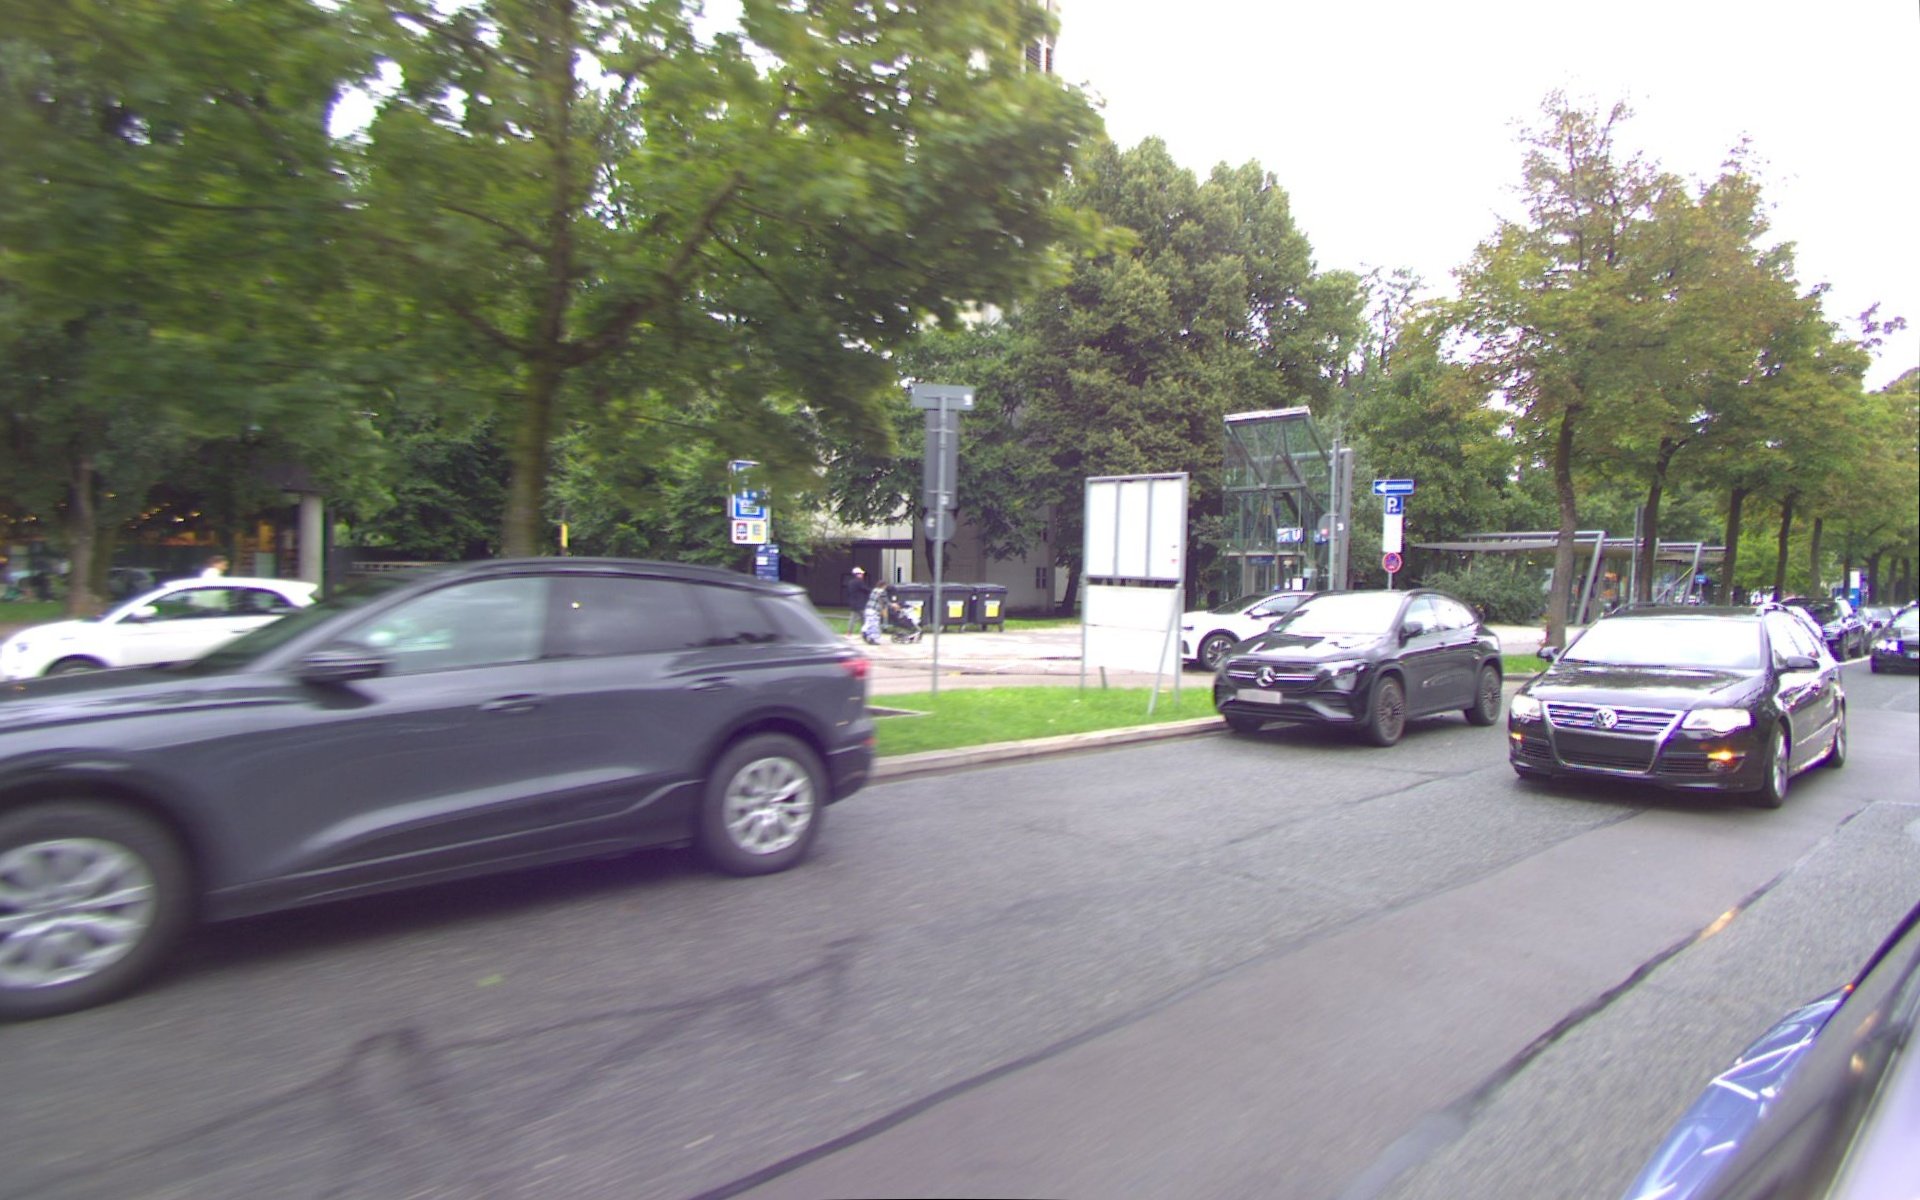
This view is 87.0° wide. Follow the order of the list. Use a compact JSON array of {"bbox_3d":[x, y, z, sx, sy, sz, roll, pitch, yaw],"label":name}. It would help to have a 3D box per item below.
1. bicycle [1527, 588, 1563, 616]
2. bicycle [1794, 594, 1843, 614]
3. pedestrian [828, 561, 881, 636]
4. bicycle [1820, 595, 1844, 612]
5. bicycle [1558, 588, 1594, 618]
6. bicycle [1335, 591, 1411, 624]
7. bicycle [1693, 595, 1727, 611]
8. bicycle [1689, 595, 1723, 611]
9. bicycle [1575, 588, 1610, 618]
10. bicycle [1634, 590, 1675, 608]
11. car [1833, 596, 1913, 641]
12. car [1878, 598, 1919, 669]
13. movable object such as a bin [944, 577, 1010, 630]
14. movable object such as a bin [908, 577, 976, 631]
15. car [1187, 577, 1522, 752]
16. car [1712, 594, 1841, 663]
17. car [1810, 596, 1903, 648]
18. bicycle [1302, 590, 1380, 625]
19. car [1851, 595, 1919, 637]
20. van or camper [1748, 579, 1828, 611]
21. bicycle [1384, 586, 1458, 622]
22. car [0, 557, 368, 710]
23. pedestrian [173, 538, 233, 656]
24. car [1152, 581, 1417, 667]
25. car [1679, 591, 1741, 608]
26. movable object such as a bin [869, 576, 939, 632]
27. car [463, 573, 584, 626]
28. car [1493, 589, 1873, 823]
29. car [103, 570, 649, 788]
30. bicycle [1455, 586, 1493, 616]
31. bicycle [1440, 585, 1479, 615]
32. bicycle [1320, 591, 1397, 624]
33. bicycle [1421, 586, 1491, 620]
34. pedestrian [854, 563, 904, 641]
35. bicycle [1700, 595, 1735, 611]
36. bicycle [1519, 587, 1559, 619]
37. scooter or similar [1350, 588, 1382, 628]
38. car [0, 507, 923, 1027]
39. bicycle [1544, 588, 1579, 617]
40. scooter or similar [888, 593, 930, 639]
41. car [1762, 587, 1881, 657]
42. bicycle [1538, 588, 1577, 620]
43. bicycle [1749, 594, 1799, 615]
[{"bbox_3d":[27.479,0.081,47.535,2.506,1.296,0.646,0,1,-41],"label":"bicycle"},{"bbox_3d":[56.727,0.268,66.898,0.574,1.171,2.344,1,3,-40],"label":"bicycle"},{"bbox_3d":[-2.558,-0.042,24.555,0.923,1.742,0.830,0,3,-40],"label":"pedestrian"},{"bbox_3d":[63.426,0.266,73.590,1.962,1.213,0.864,0,3,-37],"label":"bicycle"},{"bbox_3d":[28.315,0.130,46.491,2.506,1.296,0.646,0,1,-41],"label":"bicycle"},{"bbox_3d":[14.919,0.241,36.652,0.636,1.102,2.547,0,1,-40],"label":"bicycle"},{"bbox_3d":[59.190,0.221,79.855,2.088,1.168,0.718,1,1,0],"label":"bicycle"},{"bbox_3d":[57.672,0.223,78.233,2.088,1.168,0.718,1,1,0],"label":"bicycle"},{"bbox_3d":[28.745,0.135,45.975,2.506,1.296,0.646,0,1,-41],"label":"bicycle"},{"bbox_3d":[50.686,-0.094,73.909,0.520,1.171,2.344,1,3,-40],"label":"bicycle"},{"bbox_3d":[32.477,0.605,35.975,4.006,1.471,1.637,0,1,-41],"label":"car"},{"bbox_3d":[21.612,0.680,22.059,4.589,1.447,1.817,0,-1,-41],"label":"car"},{"bbox_3d":[0.486,0.087,28.571,1.292,1.427,1.338,0,1,-42],"label":"movable object such as a bin"},{"bbox_3d":[-0.504,0.088,27.691,1.292,1.427,1.338,0,1,-42],"label":"movable object such as a bin"},{"bbox_3d":[4.616,0.580,11.503,4.376,1.609,1.764,0,1,-42],"label":"car"},{"bbox_3d":[19.354,0.613,23.922,4.405,1.452,1.656,0,1,-42],"label":"car"},{"bbox_3d":[27.481,0.622,30.979,4.230,1.457,1.636,0,1,-42],"label":"car"},{"bbox_3d":[13.209,0.239,35.191,0.636,1.102,2.547,0,1,-40],"label":"bicycle"},{"bbox_3d":[36.131,0.590,39.315,4.149,1.527,1.721,0,1,-41],"label":"car"},{"bbox_3d":[63.103,-0.349,77.127,6.069,2.325,2.153,0,1,-23],"label":"van or camper"},{"bbox_3d":[17.664,0.133,38.858,0.636,1.296,2.547,0,1,-40],"label":"bicycle"},{"bbox_3d":[-9.954,0.332,12.860,3.929,1.671,1.998,0,1,-40],"label":"car"},{"bbox_3d":[-11.646,-0.053,15.593,0.718,1.773,0.577,0,1,-36],"label":"pedestrian"},{"bbox_3d":[6.521,0.454,20.705,4.751,1.645,1.975,0,0,-2],"label":"car"},{"bbox_3d":[68.705,-0.065,92.728,1.856,1.516,4.305,0,1,-43],"label":"car"},{"bbox_3d":[-1.491,0.091,26.804,1.292,1.427,1.338,0,1,-42],"label":"movable object such as a bin"},{"bbox_3d":[-10.362,-0.031,23.929,1.536,1.166,3.443,0,1,-44],"label":"car"},{"bbox_3d":[6.373,0.664,8.687,4.592,1.493,1.750,0,1,-42],"label":"car"},{"bbox_3d":[-5.009,0.547,9.015,3.933,1.507,1.765,0,0,-44],"label":"car"},{"bbox_3d":[22.820,0.035,44.916,2.506,1.296,0.605,0,1,-41],"label":"bicycle"},{"bbox_3d":[22.405,-0.016,45.385,2.506,1.296,0.605,0,1,-41],"label":"bicycle"},{"bbox_3d":[14.128,0.241,35.958,0.636,1.102,2.547,0,1,-40],"label":"bicycle"},{"bbox_3d":[20.493,0.108,41.879,0.636,1.296,2.547,0,1,-40],"label":"bicycle"},{"bbox_3d":[-1.874,0.041,23.458,0.970,1.742,0.540,0,3,-41],"label":"pedestrian"},{"bbox_3d":[59.167,0.223,79.049,2.088,1.168,0.718,1,1,0],"label":"bicycle"},{"bbox_3d":[24.554,0.127,42.892,2.506,1.296,0.646,0,1,-41],"label":"bicycle"},{"bbox_3d":[13.032,0.259,32.487,1.214,1.248,0.421,0,0,-38],"label":"scooter or similar"},{"bbox_3d":[-2.589,0.531,5.007,4.734,1.722,1.765,0,1,-40],"label":"car"},{"bbox_3d":[27.979,0.124,47.075,2.506,1.296,0.646,0,1,-41],"label":"bicycle"},{"bbox_3d":[-1.214,0.368,24.053,0.818,1.031,0.501,0,3,-41],"label":"scooter or similar"},{"bbox_3d":[22.993,0.529,26.941,4.516,1.696,1.790,0,1,-42],"label":"car"},{"bbox_3d":[24.995,0.146,42.322,2.506,1.296,0.646,0,1,-41],"label":"bicycle"},{"bbox_3d":[51.223,0.290,63.699,0.520,1.171,2.344,1,3,-40],"label":"bicycle"}]
